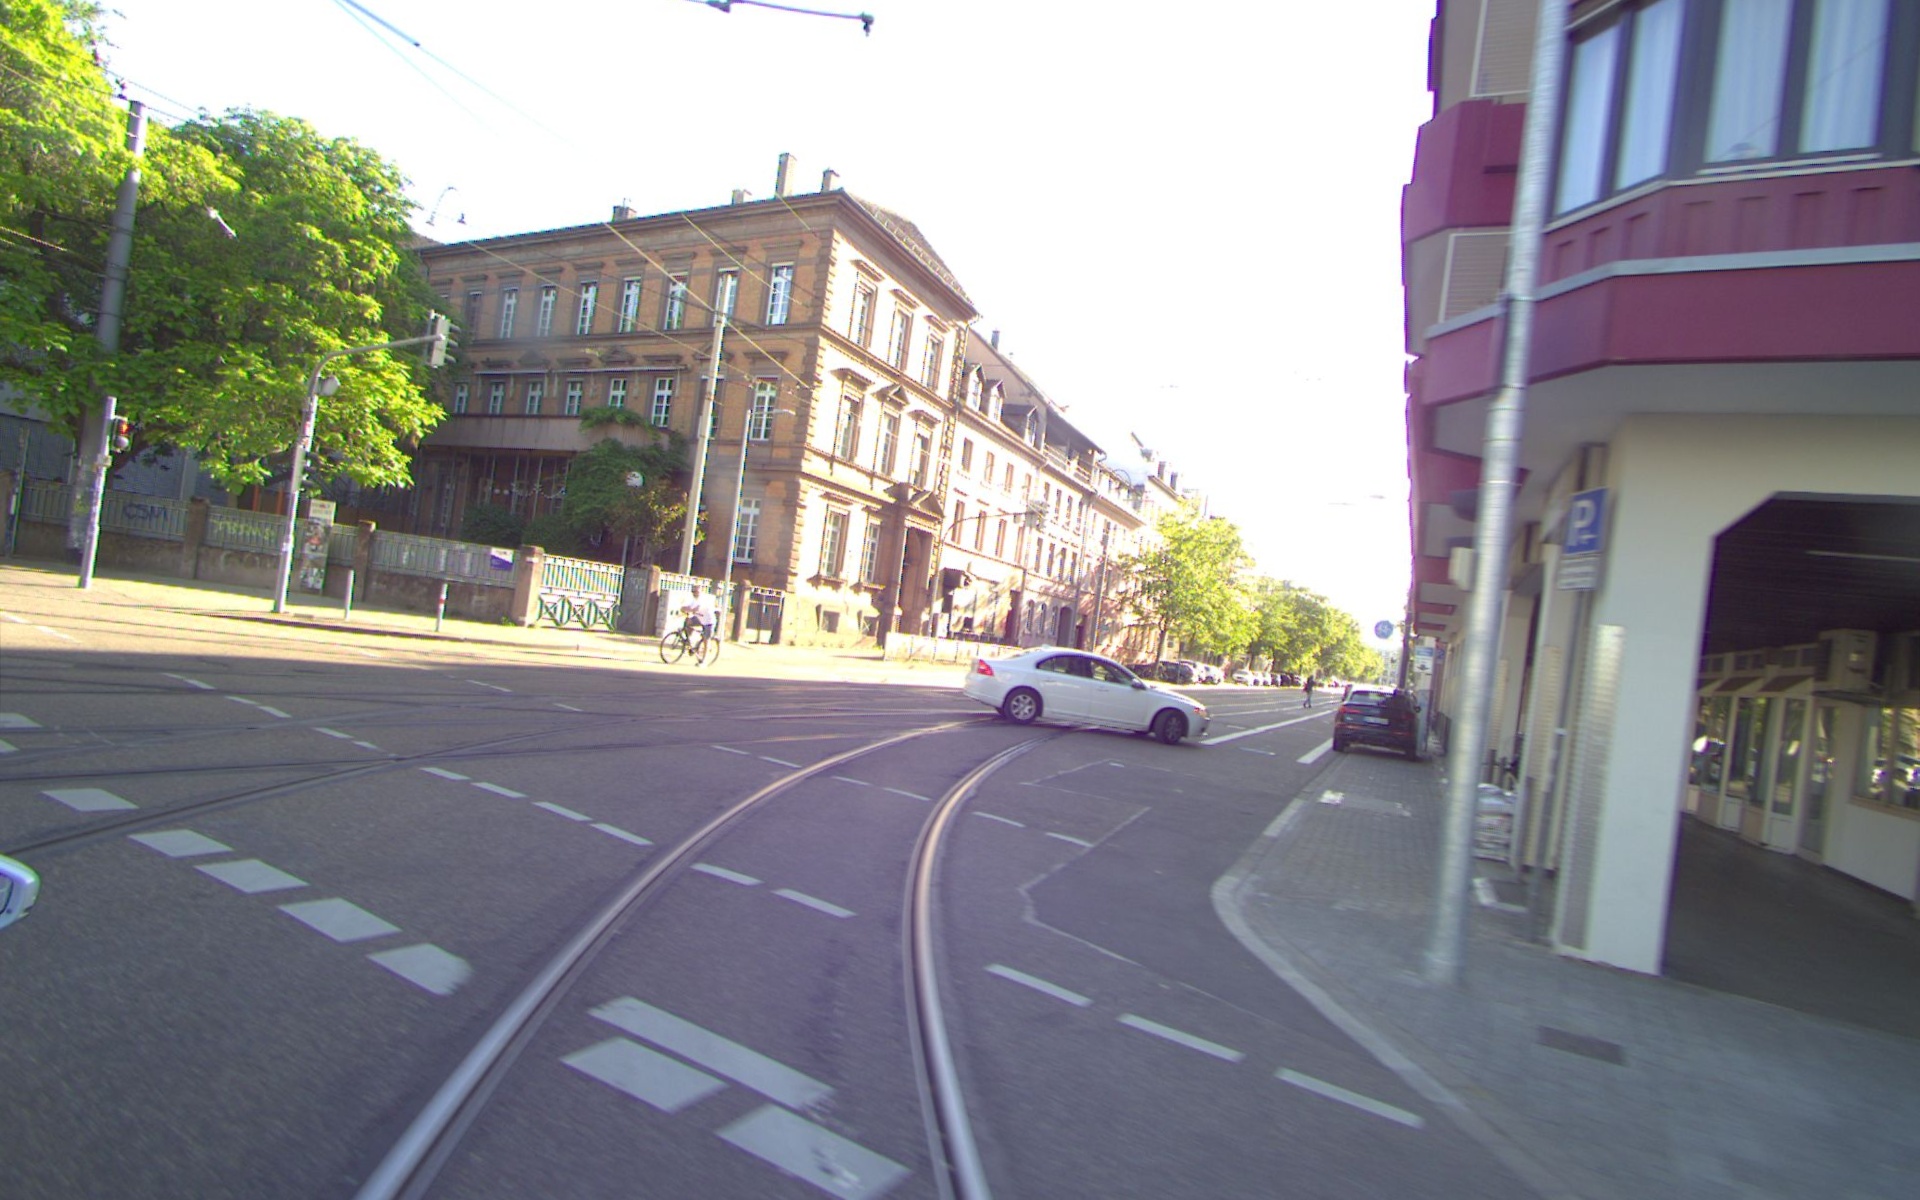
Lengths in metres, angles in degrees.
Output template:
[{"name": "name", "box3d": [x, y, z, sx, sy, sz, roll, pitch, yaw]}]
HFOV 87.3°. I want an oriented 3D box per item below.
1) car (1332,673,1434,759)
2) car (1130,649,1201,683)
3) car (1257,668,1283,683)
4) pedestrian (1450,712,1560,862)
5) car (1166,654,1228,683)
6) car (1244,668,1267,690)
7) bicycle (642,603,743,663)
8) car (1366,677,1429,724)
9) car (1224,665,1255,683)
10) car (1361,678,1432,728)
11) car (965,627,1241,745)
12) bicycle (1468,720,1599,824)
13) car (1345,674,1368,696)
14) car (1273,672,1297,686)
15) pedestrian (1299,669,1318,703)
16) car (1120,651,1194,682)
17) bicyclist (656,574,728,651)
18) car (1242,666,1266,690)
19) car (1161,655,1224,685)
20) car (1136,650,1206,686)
[{"name": "car", "box3d": [10.453, 2.836, 24.688, 1.708, 1.703, 3.905, 7, -2, 30]}, {"name": "car", "box3d": [14.735, 4.705, 72.318, 4.649, 1.738, 2.001, 8, 0, 4]}, {"name": "car", "box3d": [36.359, 8.890, 117.862, 1.966, 1.370, 3.995, 7, -1, 30]}, {"name": "pedestrian", "box3d": [5.641, 1.919, 10.449, 0.644, 1.367, 0.663, 8, 0, 5]}, {"name": "car", "box3d": [19.513, 5.669, 82.941, 4.650, 1.704, 2.001, 8, 0, 19]}, {"name": "car", "box3d": [32.168, 8.627, 109.374, 1.963, 2.035, 4.006, 8, -3, 20]}, {"name": "bicycle", "box3d": [-5.863, 0.756, 22.254, 0.830, 1.132, 2.332, 8, -1, 21]}, {"name": "car", "box3d": [18.504, 4.256, 42.441, 1.859, 1.636, 3.997, 7, -2, 30]}, {"name": "car", "box3d": [26.632, 7.050, 95.754, 1.776, 1.370, 3.995, 7, -1, 30]}, {"name": "car", "box3d": [16.340, 3.858, 37.526, 1.880, 1.487, 3.997, 7, -2, 30]}, {"name": "car", "box3d": [2.633, 1.605, 19.275, 4.813, 1.473, 1.854, 8, 0, -5]}, {"name": "bicycle", "box3d": [7.594, 2.281, 13.298, 1.779, 1.214, 0.611, 7, 0, -31]}, {"name": "car", "box3d": [40.724, 8.731, 103.290, 1.964, 1.869, 4.004, 8, -3, 23]}, {"name": "car", "box3d": [41.403, 10.061, 128.010, 1.966, 1.370, 3.995, 7, -1, 30]}, {"name": "pedestrian", "box3d": [19.092, 4.715, 55.135, 0.684, 1.791, 0.989, 8, 0, 23]}, {"name": "car", "box3d": [13.623, 4.595, 69.822, 4.649, 1.468, 1.908, 8, 0, 4]}, {"name": "bicyclist", "box3d": [-5.885, 0.287, 22.123, 0.993, 1.527, 0.928, 8, 0, 21]}, {"name": "car", "box3d": [30.300, 8.028, 103.658, 1.963, 2.035, 4.006, 8, -3, 20]}, {"name": "car", "box3d": [18.522, 5.530, 80.221, 4.648, 1.704, 2.001, 8, 0, 15]}, {"name": "car", "box3d": [15.843, 5.114, 75.724, 4.649, 2.010, 2.001, 8, 0, 4]}]
